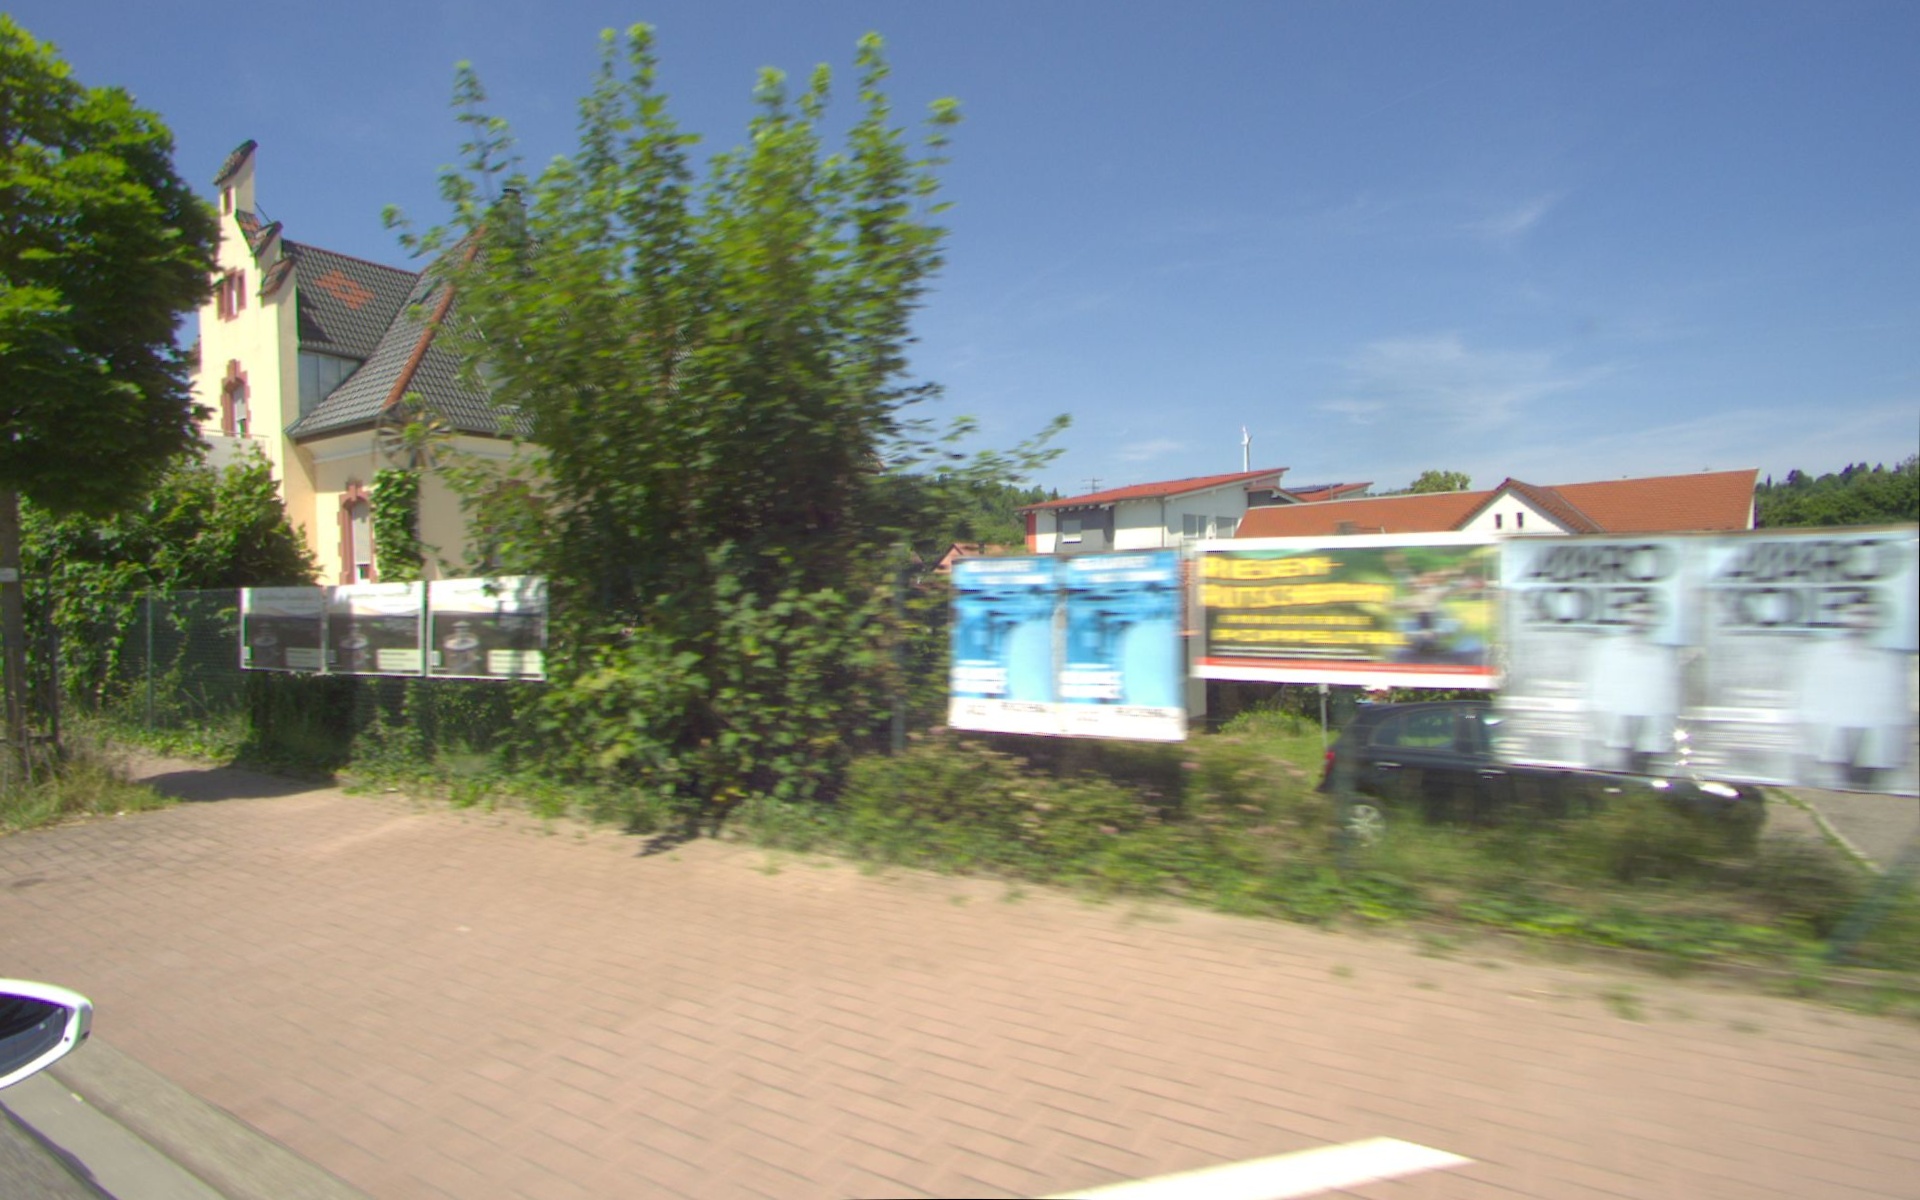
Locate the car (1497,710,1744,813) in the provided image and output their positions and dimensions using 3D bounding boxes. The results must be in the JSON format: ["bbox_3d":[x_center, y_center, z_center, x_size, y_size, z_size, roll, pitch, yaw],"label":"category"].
[{"bbox_3d":[10.787,2.596,16.551,3.247,1.490,1.322,-3,-7,33],"label":"car"}]

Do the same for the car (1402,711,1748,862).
[{"bbox_3d":[7.116,2.081,11.779,3.258,1.489,1.318,-5,-8,42],"label":"car"}]

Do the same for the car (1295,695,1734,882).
[{"bbox_3d":[5.271,1.747,9.838,3.523,1.489,1.492,-3,-9,34],"label":"car"}]

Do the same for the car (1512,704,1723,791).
[{"bbox_3d":[12.540,2.775,19.261,3.247,1.490,1.322,-3,-7,33],"label":"car"}]

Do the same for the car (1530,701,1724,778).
[{"bbox_3d":[14.288,2.970,21.613,3.336,1.490,1.322,-3,-7,33],"label":"car"}]
